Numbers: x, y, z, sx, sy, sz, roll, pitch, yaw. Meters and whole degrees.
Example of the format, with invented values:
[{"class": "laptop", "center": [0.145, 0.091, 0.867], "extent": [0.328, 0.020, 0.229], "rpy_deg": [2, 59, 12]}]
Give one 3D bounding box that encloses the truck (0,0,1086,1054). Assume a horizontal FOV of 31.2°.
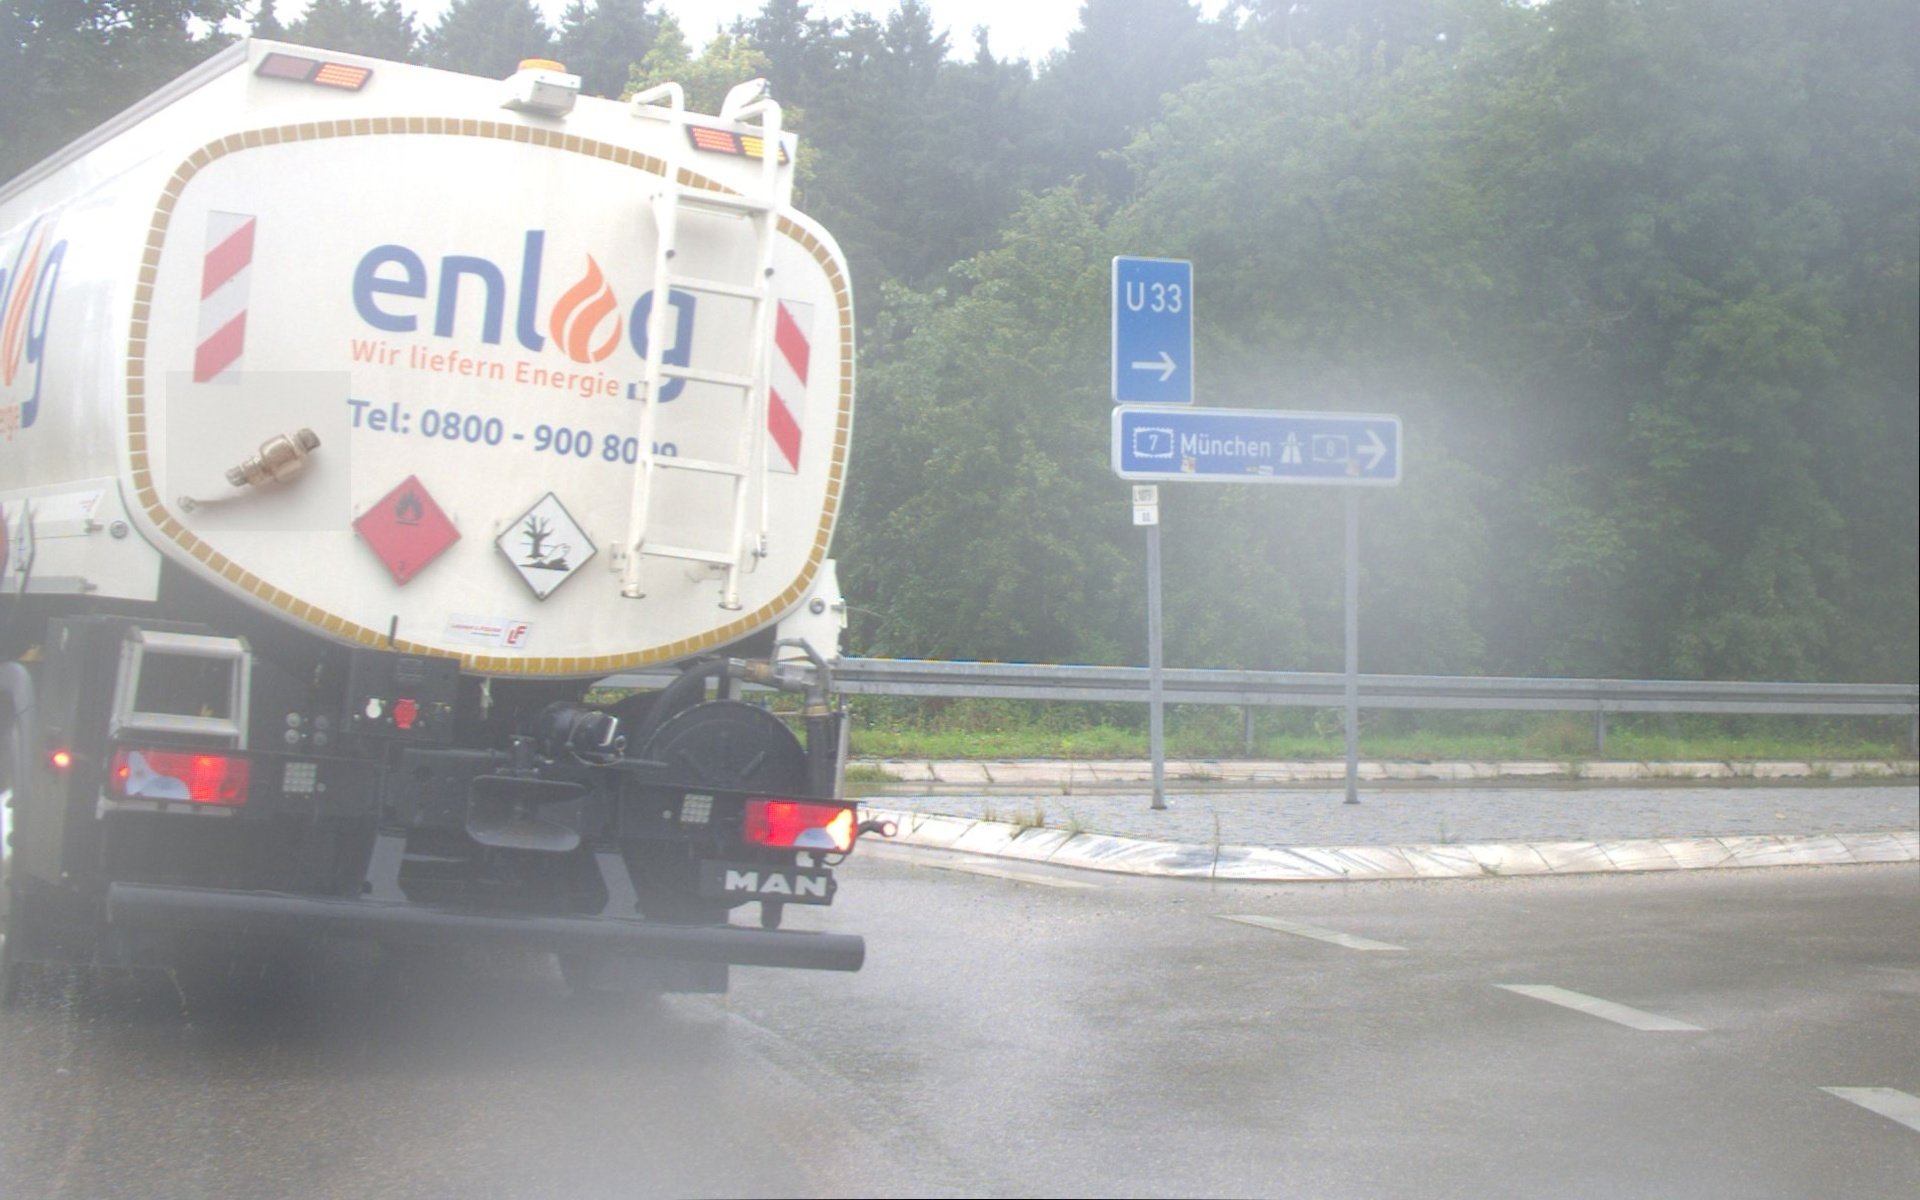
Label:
[{"class": "truck", "center": [-2.801, -0.680, 14.383], "extent": [3.038, 3.838, 8.824], "rpy_deg": [2, 0, -24]}]
